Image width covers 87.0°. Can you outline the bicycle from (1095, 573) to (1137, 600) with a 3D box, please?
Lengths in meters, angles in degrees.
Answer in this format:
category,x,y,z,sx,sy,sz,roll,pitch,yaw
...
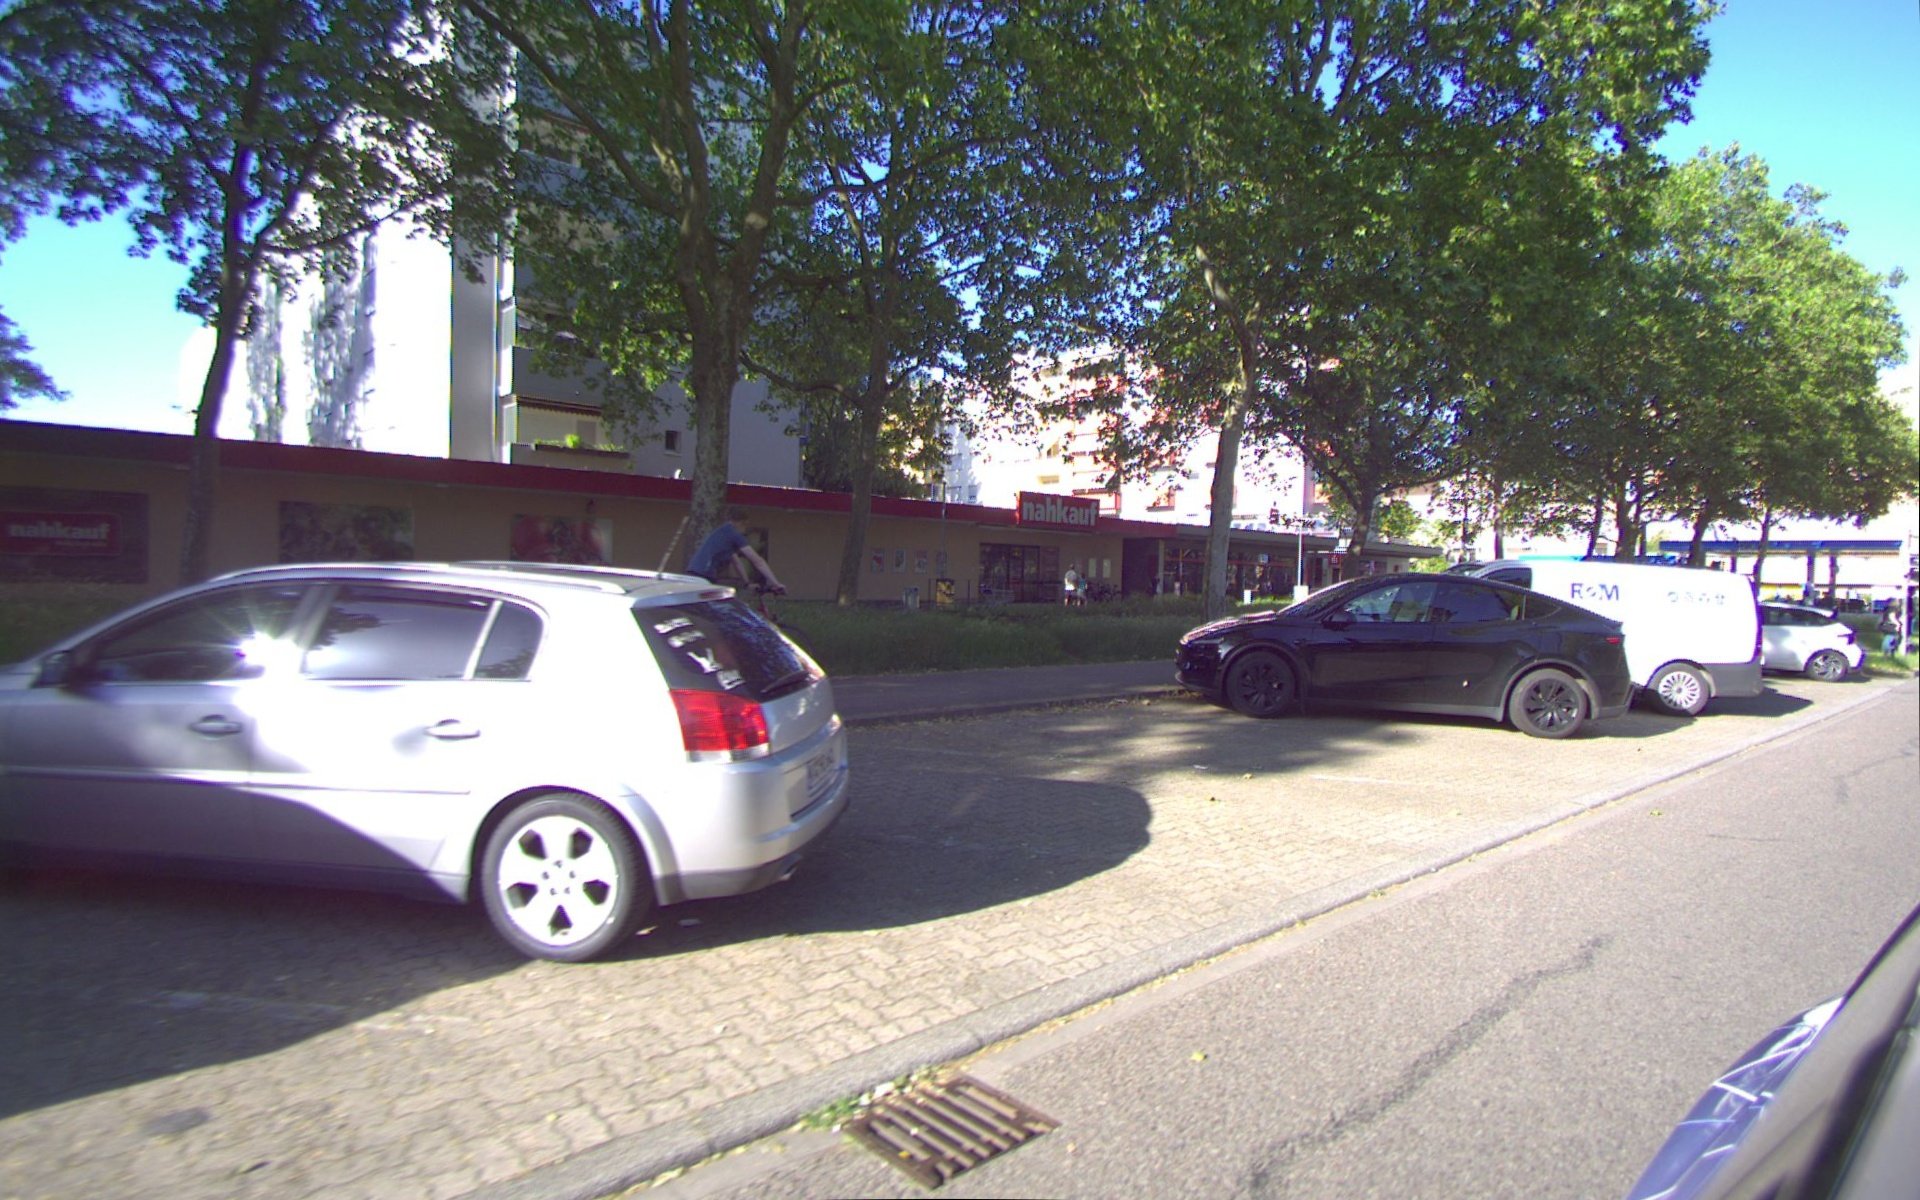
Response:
category,x,y,z,sx,sy,sz,roll,pitch,yaw
bicycle,7.064,-0.622,45.902,1.811,1.194,0.600,0,0,-19

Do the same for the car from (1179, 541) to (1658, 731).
category,x,y,z,sx,sy,sz,roll,pitch,yaw
car,4.782,0.301,11.217,4.429,1.725,1.757,3,2,9

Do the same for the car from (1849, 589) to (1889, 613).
category,x,y,z,sx,sy,sz,roll,pitch,yaw
car,61.193,0.050,68.122,3.939,1.481,1.722,0,2,-44

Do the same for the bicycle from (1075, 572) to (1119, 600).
category,x,y,z,sx,sy,sz,roll,pitch,yaw
bicycle,6.046,-0.618,44.777,1.812,1.194,0.600,1,0,-12

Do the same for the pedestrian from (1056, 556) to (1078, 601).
category,x,y,z,sx,sy,sz,roll,pitch,yaw
pedestrian,4.255,-0.852,40.188,0.495,1.721,0.704,3,1,44

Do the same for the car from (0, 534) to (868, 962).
category,x,y,z,sx,sy,sz,roll,pitch,yaw
car,-2.619,0.484,4.698,4.111,1.429,1.719,2,2,5

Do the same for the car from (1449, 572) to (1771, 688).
category,x,y,z,sx,sy,sz,roll,pitch,yaw
car,10.251,0.406,16.347,3.948,1.447,1.789,4,3,19

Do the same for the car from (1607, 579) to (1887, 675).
category,x,y,z,sx,sy,sz,roll,pitch,yaw
car,15.521,0.471,20.230,3.948,1.487,1.750,4,3,19

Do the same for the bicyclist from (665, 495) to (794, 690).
category,x,y,z,sx,sy,sz,roll,pitch,yaw
bicyclist,-2.199,-0.077,9.675,1.005,1.762,0.624,1,1,-40

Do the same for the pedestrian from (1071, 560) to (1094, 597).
category,x,y,z,sx,sy,sz,roll,pitch,yaw
pedestrian,4.834,-0.841,39.928,0.531,1.448,0.704,3,1,44

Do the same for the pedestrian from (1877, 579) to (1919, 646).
category,x,y,z,sx,sy,sz,roll,pitch,yaw
pedestrian,24.967,0.325,26.801,0.702,1.726,0.651,3,3,16

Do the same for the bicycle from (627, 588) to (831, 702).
category,x,y,z,sx,sy,sz,roll,pitch,yaw
bicycle,-2.185,0.395,9.706,1.808,0.978,0.623,0,2,-40

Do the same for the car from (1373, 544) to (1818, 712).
category,x,y,z,sx,sy,sz,roll,pitch,yaw
car,8.240,0.288,13.591,4.596,1.875,1.826,3,2,10

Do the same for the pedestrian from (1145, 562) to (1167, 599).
category,x,y,z,sx,sy,sz,roll,pitch,yaw
pedestrian,8.773,-0.871,45.281,0.671,1.604,0.704,3,1,44

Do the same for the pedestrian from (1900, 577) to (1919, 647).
category,x,y,z,sx,sy,sz,roll,pitch,yaw
pedestrian,26.579,0.329,27.885,0.911,1.908,0.800,1,1,-36
